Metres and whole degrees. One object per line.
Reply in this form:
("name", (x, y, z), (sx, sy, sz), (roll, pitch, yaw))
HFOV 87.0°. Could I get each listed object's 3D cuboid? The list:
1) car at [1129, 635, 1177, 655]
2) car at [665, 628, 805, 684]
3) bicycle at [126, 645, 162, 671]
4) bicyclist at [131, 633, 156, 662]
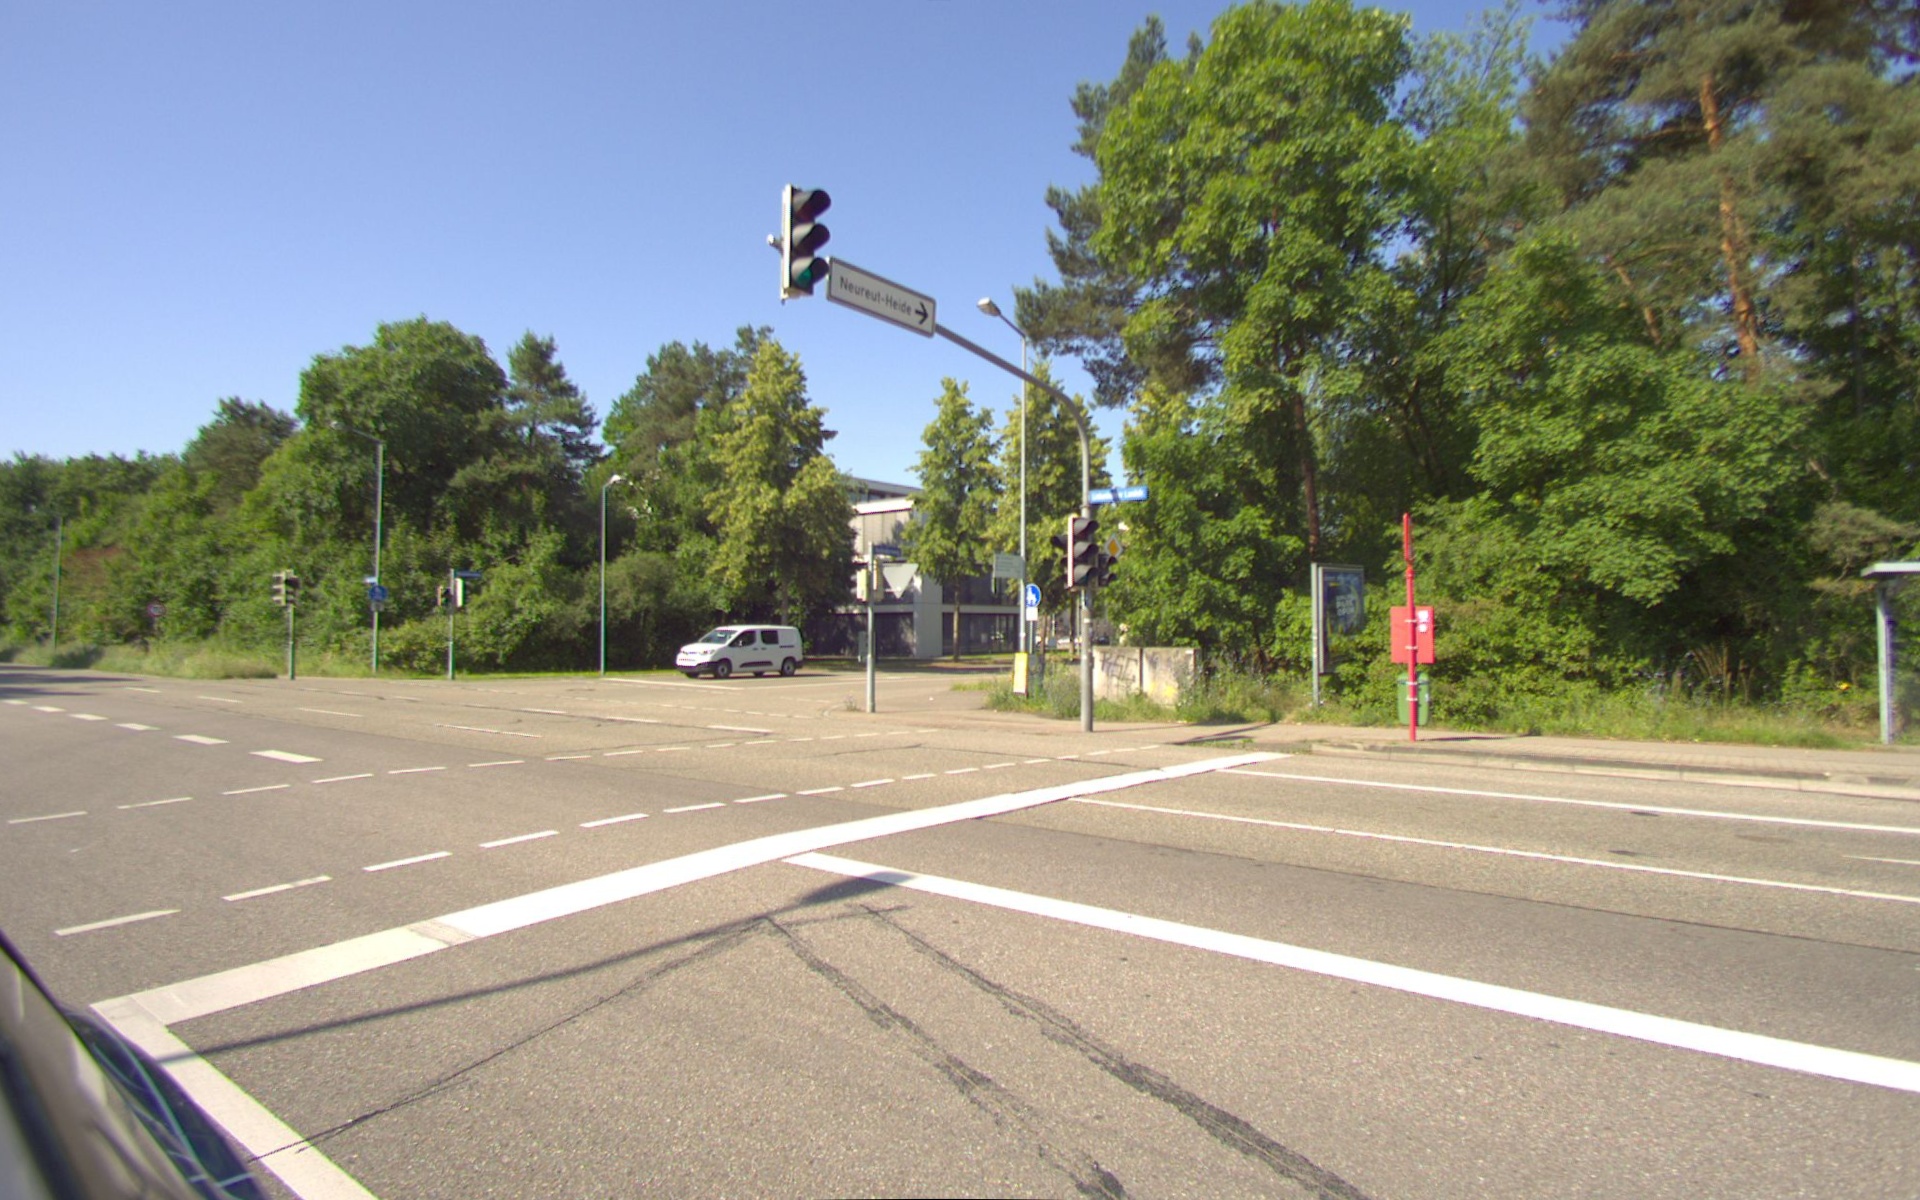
("car", (17.958, 4.183, 94.264), (3.992, 1.741, 1.976), (-1, 0, 37))
("car", (-7.688, 1.922, 35.040), (1.850, 1.791, 4.601), (-1, -3, 38))
("bicycle", (-38.371, 2.726, 47.559), (2.368, 1.172, 0.726), (-2, -2, 37))
("bicyclist", (-38.393, 2.226, 47.590), (0.882, 1.321, 0.715), (-2, -2, 36))
